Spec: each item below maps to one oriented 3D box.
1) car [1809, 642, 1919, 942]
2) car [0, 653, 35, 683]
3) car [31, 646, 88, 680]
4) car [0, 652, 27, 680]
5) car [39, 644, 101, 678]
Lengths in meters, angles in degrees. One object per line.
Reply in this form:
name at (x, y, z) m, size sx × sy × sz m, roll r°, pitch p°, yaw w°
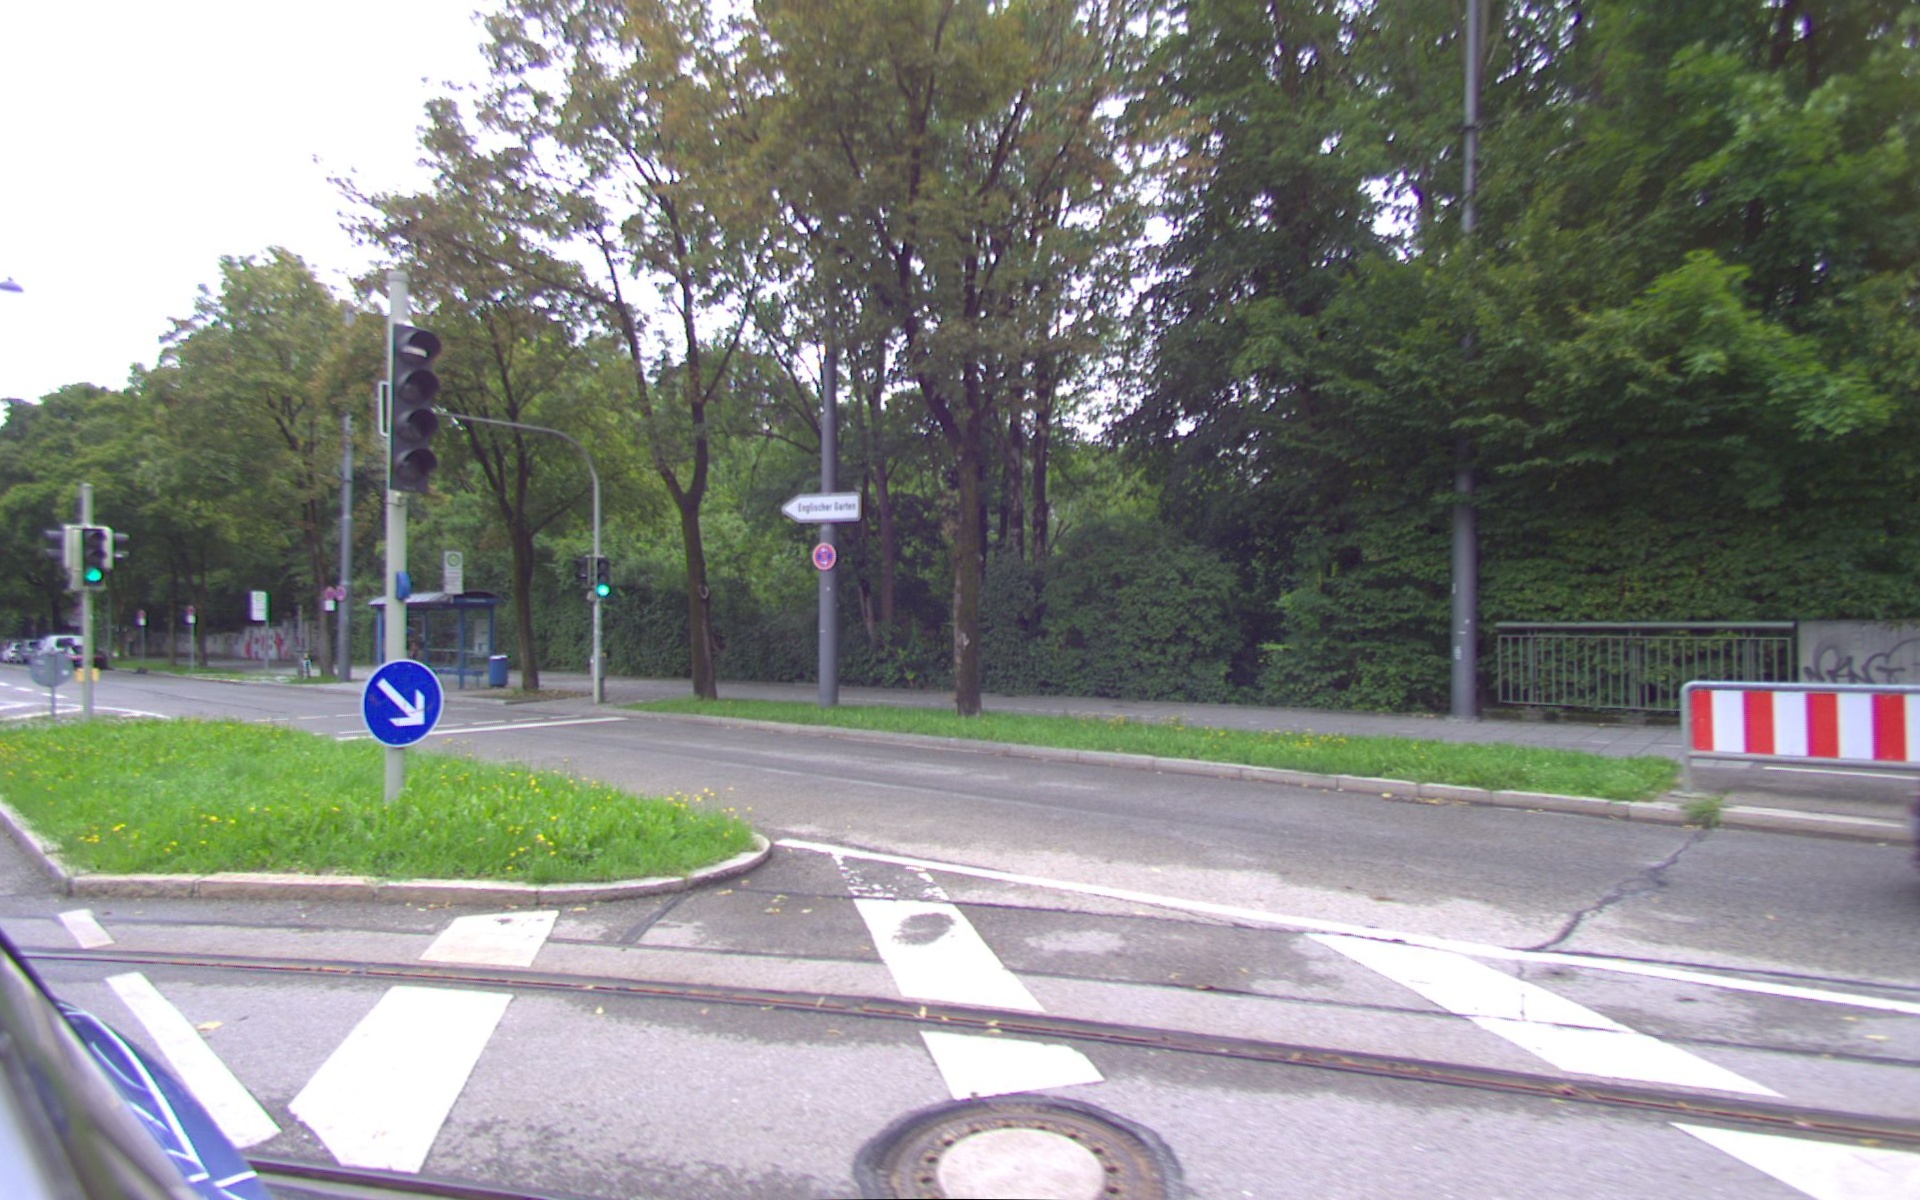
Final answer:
car at (6.624, 0.876, 4.059) m, size 4.834 × 1.399 × 1.607 m, roll -2°, pitch -5°, yaw 39°
car at (-61.759, 4.394, 65.822) m, size 3.998 × 1.739 × 1.864 m, roll -1°, pitch 0°, yaw 41°
car at (-50.376, 3.484, 56.594) m, size 3.998 × 1.739 × 1.864 m, roll -1°, pitch 0°, yaw 41°
car at (-65.510, 4.525, 69.341) m, size 3.998 × 1.739 × 1.864 m, roll -1°, pitch 0°, yaw 41°
car at (-46.206, 3.132, 52.526) m, size 3.998 × 1.552 × 1.864 m, roll -1°, pitch 0°, yaw 41°
